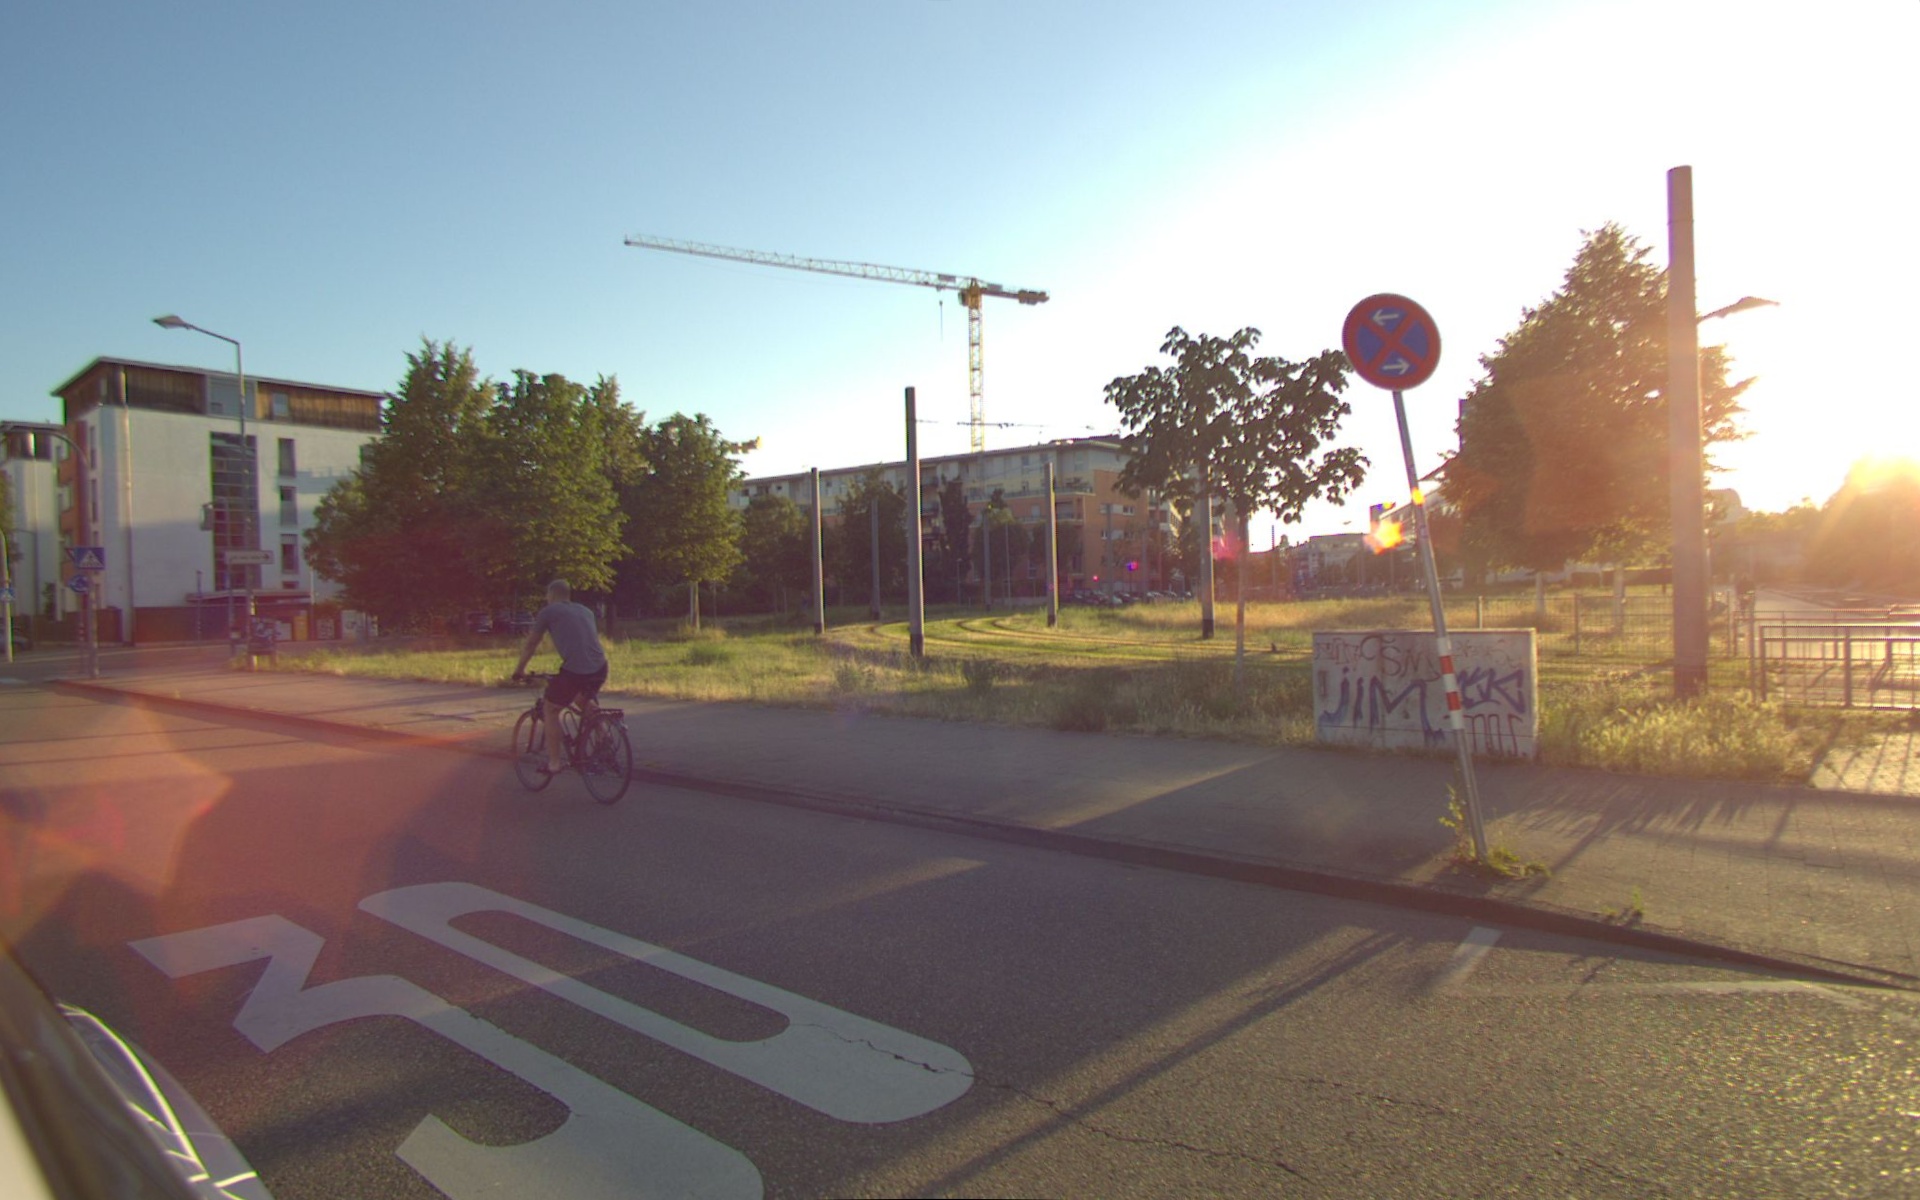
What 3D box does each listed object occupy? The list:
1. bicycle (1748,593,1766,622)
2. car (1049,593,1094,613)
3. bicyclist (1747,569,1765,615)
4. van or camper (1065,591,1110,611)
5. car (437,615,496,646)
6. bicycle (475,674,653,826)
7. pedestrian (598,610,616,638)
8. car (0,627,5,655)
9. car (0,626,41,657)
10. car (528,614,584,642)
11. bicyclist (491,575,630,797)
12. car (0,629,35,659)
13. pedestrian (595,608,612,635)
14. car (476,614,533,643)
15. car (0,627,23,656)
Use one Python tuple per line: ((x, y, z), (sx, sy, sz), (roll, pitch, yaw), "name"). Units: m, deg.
((26.679, 0.245, 33.894), (0.430, 0.907, 1.220), (-3, -1, 38), "bicycle")
((10.473, 0.277, 94.985), (3.872, 1.707, 1.682), (-3, -1, 36), "car")
((26.673, -0.265, 33.913), (0.424, 1.506, 0.507), (-3, -1, 39), "bicyclist")
((12.171, 0.137, 96.887), (3.876, 1.707, 1.810), (-3, -1, 40), "van or camper")
((-26.532, 1.636, 54.393), (3.409, 1.533, 1.668), (-1, 0, 41), "car")
((-3.276, 1.163, 8.268), (1.925, 1.051, 0.533), (-3, -1, 43), "bicycle")
((-21.875, 1.474, 62.715), (0.624, 1.679, 0.733), (-1, 2, 42), "pedestrian")
((-56.111, 2.459, 55.818), (1.754, 1.597, 4.707), (-3, 1, 35), "car")
((-53.361, 2.373, 55.133), (1.710, 1.566, 4.722), (-3, 1, 43), "car")
((-23.029, 1.598, 57.712), (3.409, 1.511, 1.573), (-1, 0, 41), "car")
((-3.261, 0.665, 8.234), (1.036, 1.675, 0.608), (-3, -1, 43), "bicyclist")
((-49.878, 2.316, 51.235), (1.677, 1.468, 4.241), (-3, 0, 37), "car")
((-22.333, 1.357, 63.354), (0.655, 1.611, 0.705), (-2, 1, 33), "pedestrian")
((-25.147, 1.562, 55.814), (3.409, 1.511, 1.573), (-1, 0, 41), "car")
((-52.127, 2.331, 52.542), (1.708, 1.489, 4.858), (-3, 1, 37), "car")
